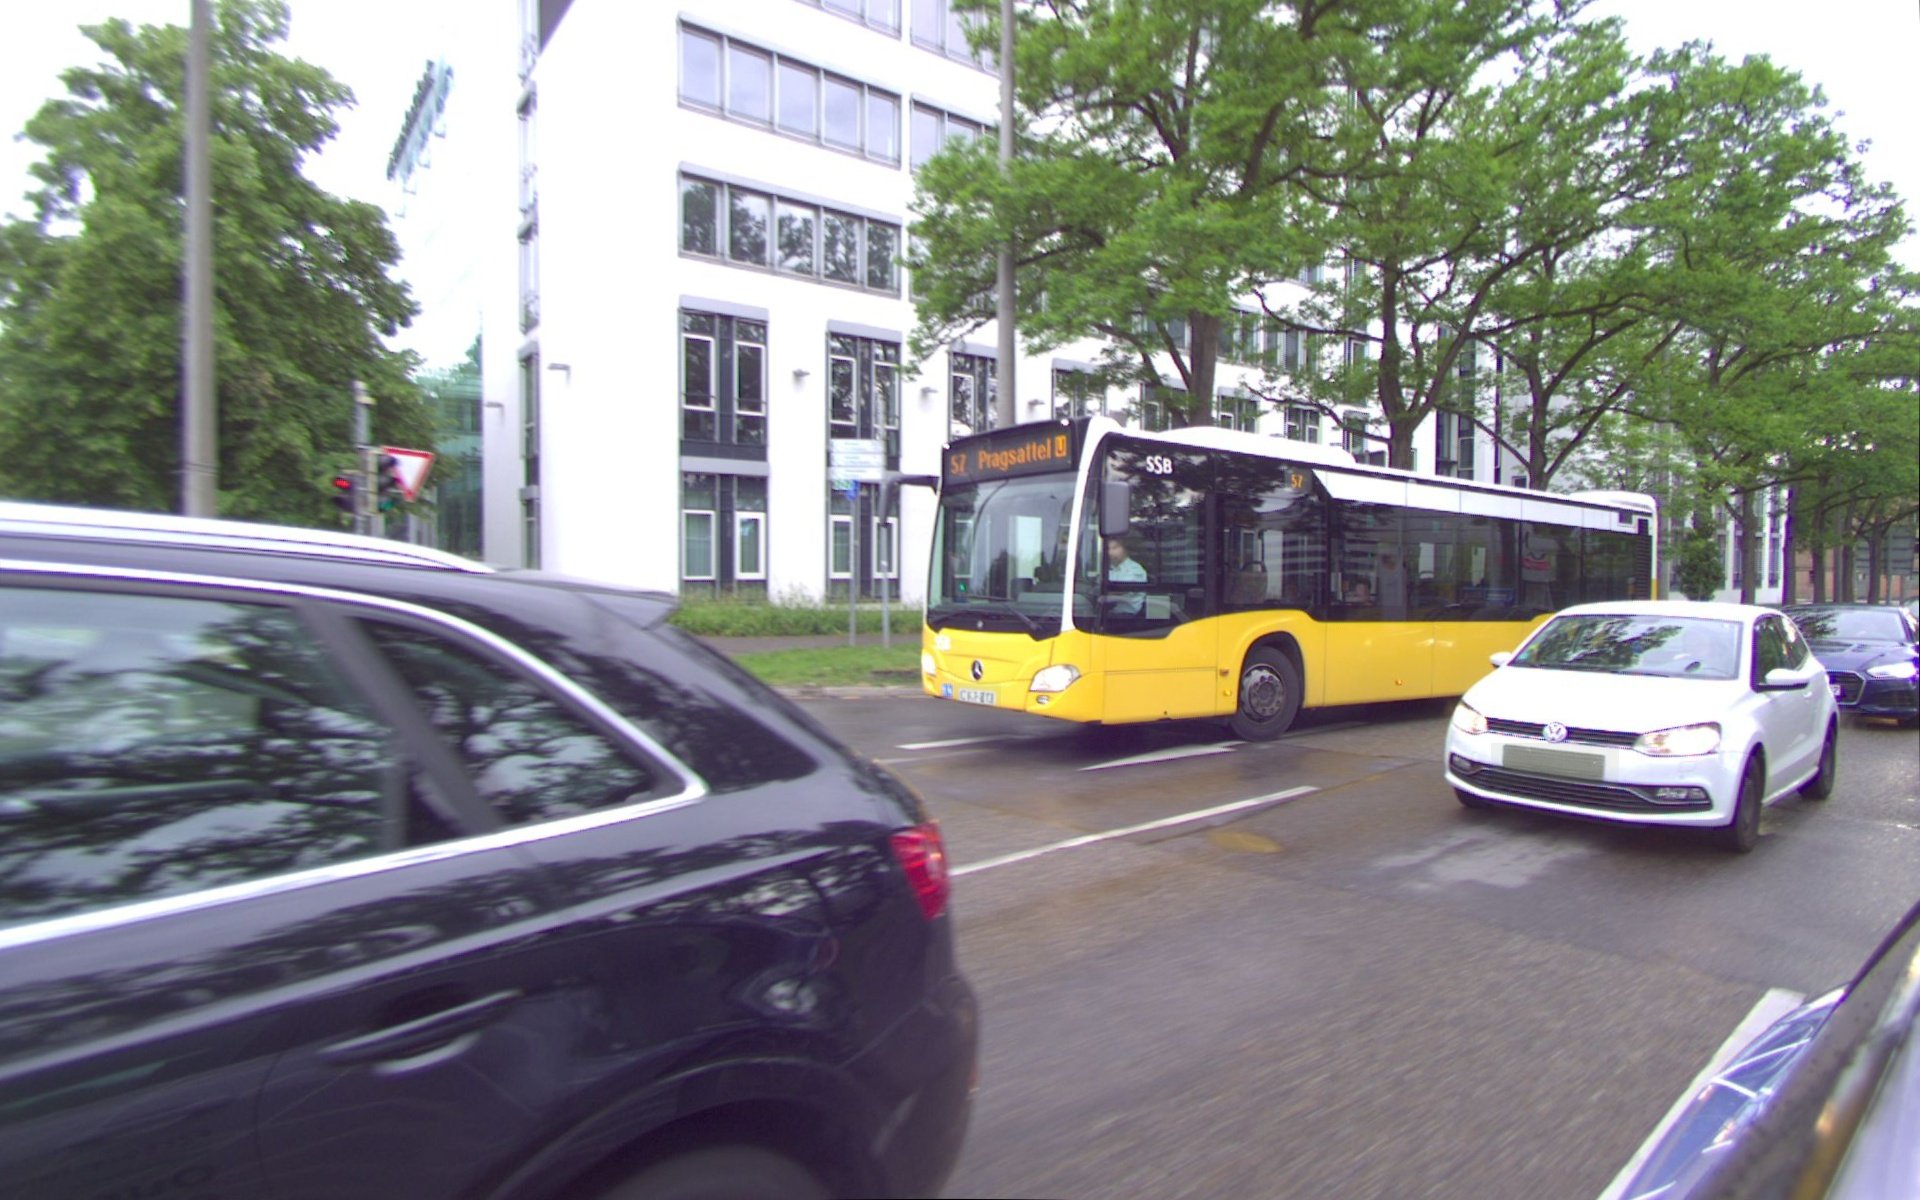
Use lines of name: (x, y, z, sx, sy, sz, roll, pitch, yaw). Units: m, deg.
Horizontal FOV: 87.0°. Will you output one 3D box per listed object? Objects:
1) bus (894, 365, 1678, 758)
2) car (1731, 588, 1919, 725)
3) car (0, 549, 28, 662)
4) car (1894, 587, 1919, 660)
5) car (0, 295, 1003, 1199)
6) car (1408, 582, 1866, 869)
bus: (4.985, -0.342, 12.750, 11.914, 3.192, 2.735, 0, 0, -35)
car: (11.125, 0.582, 12.520, 4.260, 1.371, 1.875, -2, 0, -44)
car: (-15.033, 0.067, 13.954, 4.111, 1.515, 1.855, 2, 4, 27)
car: (21.257, 0.446, 21.423, 3.486, 1.452, 1.625, -2, 0, -38)
car: (-2.055, 0.552, 1.099, 4.043, 1.615, 1.887, -2, 1, -42)
car: (4.913, 0.619, 7.161, 3.745, 1.449, 1.744, -1, 2, -41)
